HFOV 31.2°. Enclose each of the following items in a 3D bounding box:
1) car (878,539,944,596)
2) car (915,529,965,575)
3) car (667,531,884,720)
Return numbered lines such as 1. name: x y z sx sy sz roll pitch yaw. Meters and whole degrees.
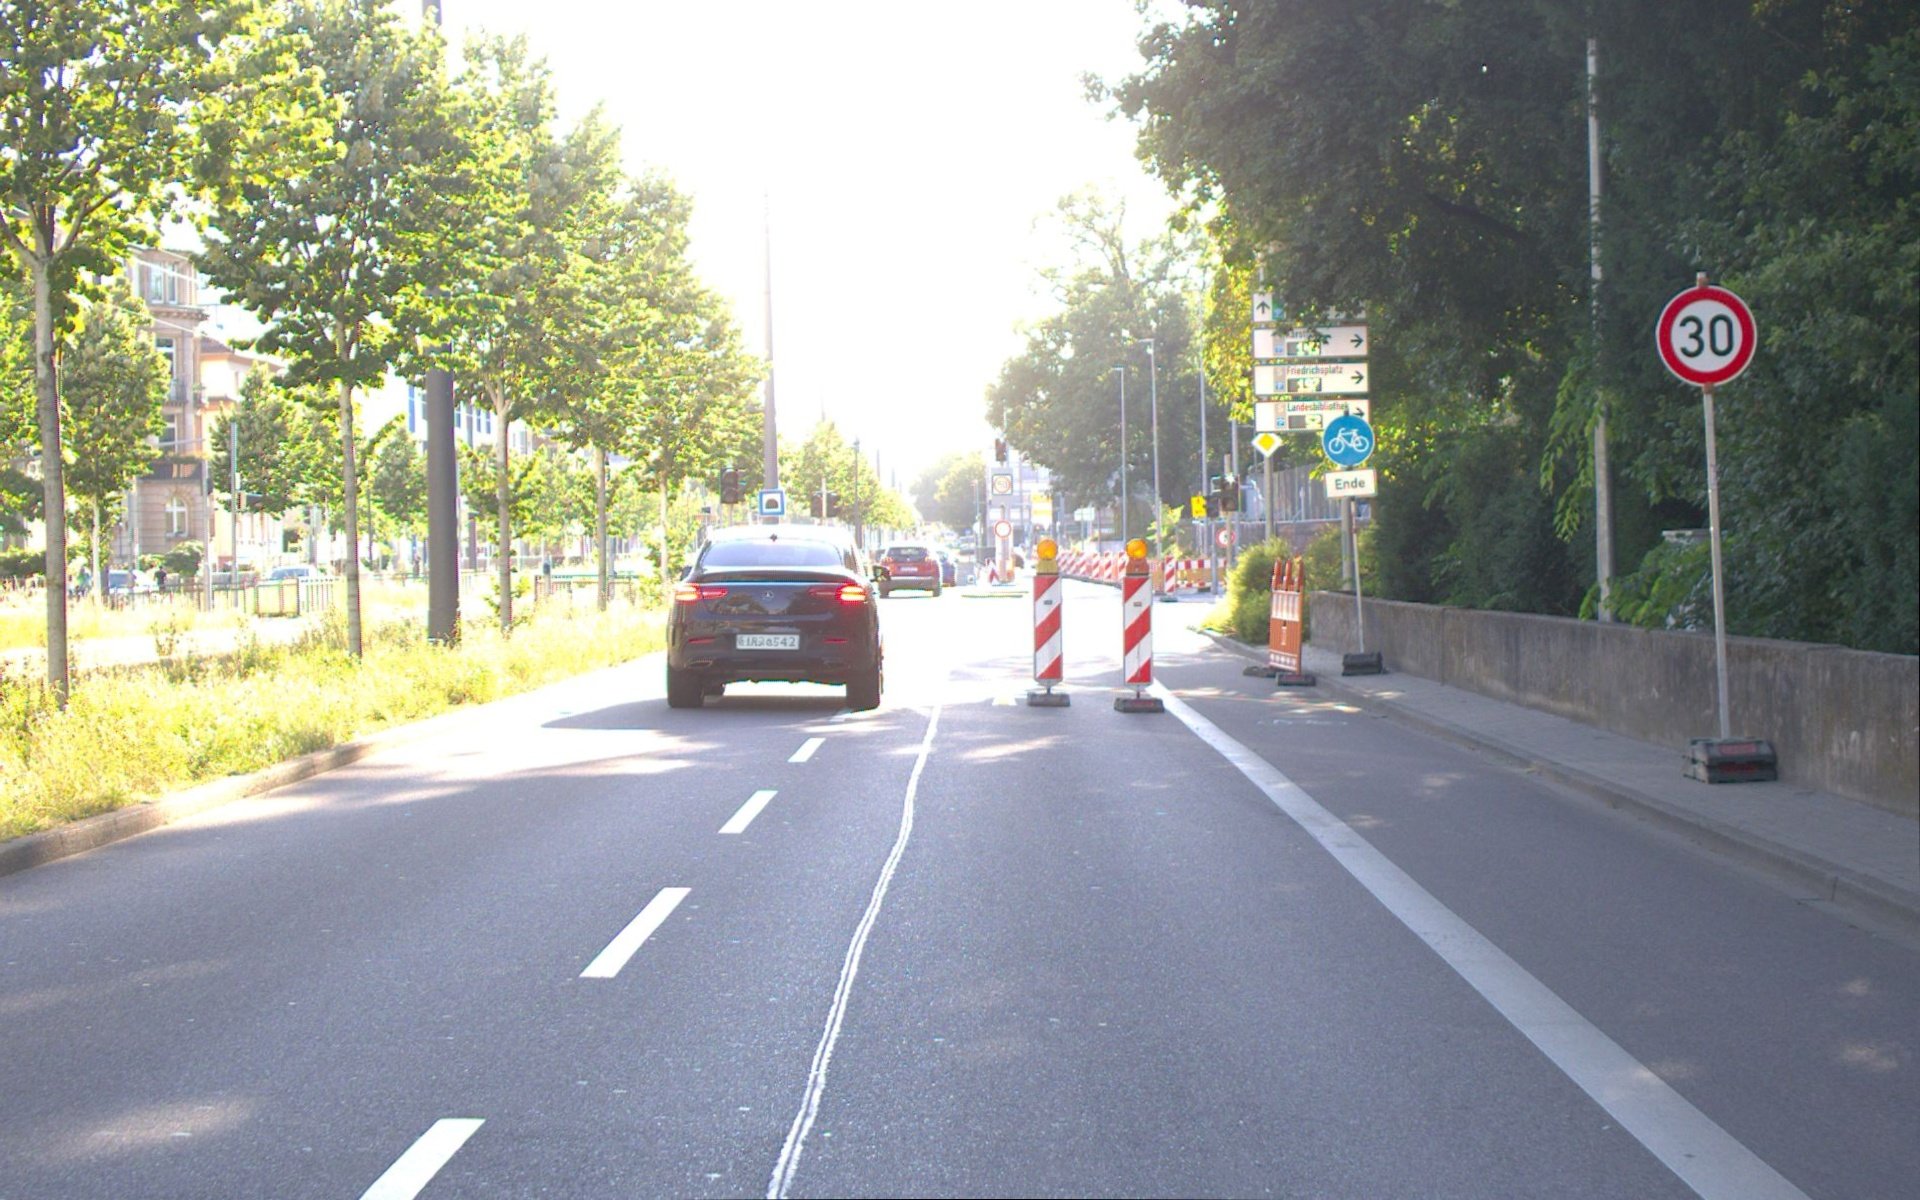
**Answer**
1. car: -1.428 -0.969 101.026 1.885 1.575 4.000 0 2 0
2. car: -0.737 -1.760 124.846 1.767 1.598 3.773 -1 1 0
3. car: -1.833 0.191 33.577 1.993 1.728 4.001 0 1 -4
